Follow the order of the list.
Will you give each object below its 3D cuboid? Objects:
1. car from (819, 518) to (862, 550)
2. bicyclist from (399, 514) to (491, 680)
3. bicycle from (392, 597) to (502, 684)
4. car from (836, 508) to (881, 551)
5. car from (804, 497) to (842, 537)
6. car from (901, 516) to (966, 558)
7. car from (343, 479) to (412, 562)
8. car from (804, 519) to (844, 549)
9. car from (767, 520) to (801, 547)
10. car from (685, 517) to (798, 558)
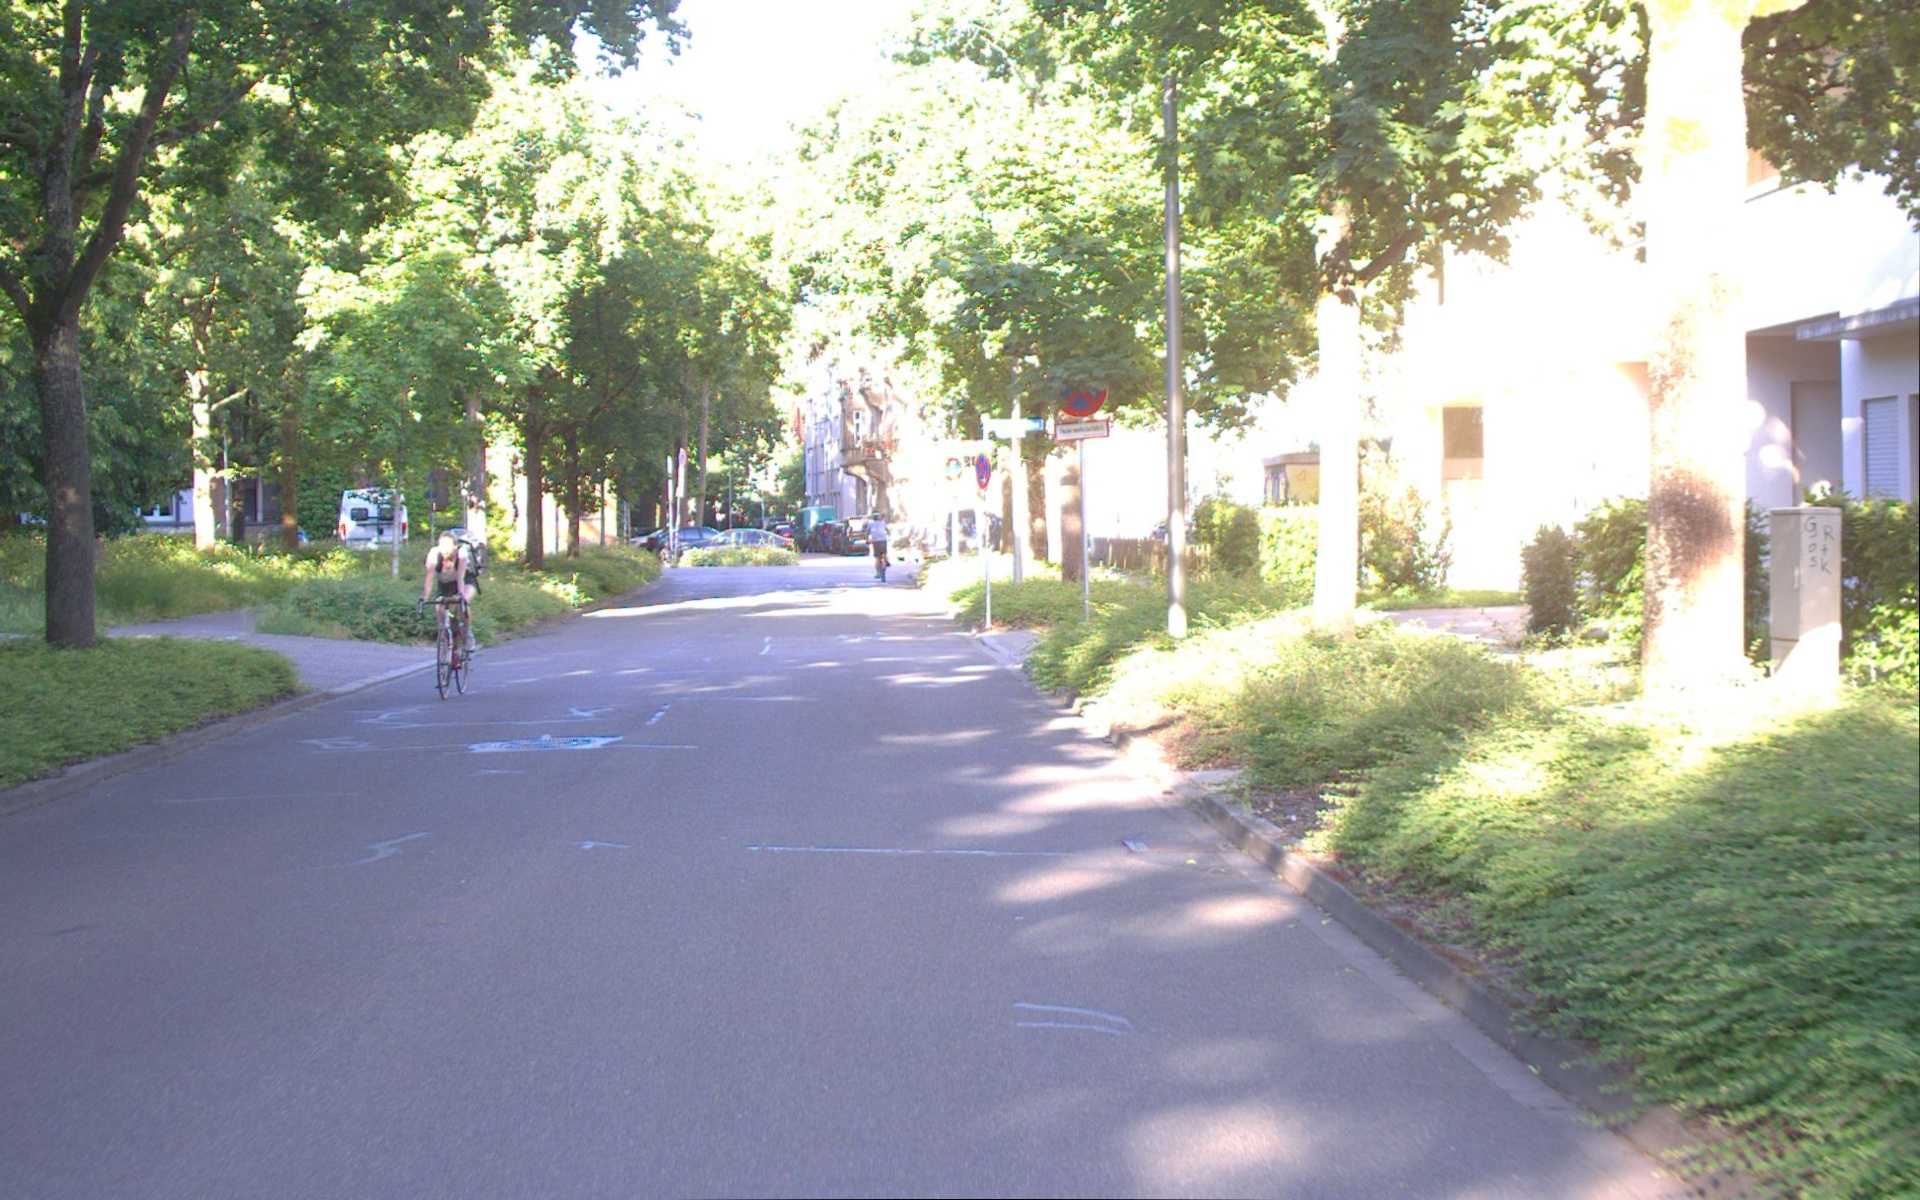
[{"bbox_3d":[-5.769,-3.199,165.692,1.811,1.496,4.001,0,1,-5],"label":"car"},{"bbox_3d":[-4.972,-0.041,33.229,0.633,1.549,1.002,-3,1,2],"label":"bicyclist"},{"bbox_3d":[-4.957,0.383,33.329,0.639,0.739,2.126,-3,1,2],"label":"bicycle"},{"bbox_3d":[-4.675,-3.238,157.575,1.811,1.919,4.001,0,1,-5],"label":"car"},{"bbox_3d":[-7.278,-4.403,182.389,1.811,2.043,4.001,0,1,-5],"label":"car"},{"bbox_3d":[-1.010,-2.383,128.953,1.811,1.496,4.001,-2,1,-9],"label":"car"},{"bbox_3d":[-17.823,-2.418,105.098,1.993,2.499,4.001,0,1,-10],"label":"car"},{"bbox_3d":[-6.832,-3.324,172.205,1.811,1.496,4.001,0,1,-5],"label":"car"},{"bbox_3d":[-10.232,-3.869,199.303,1.811,1.496,4.001,0,1,-5],"label":"car"},{"bbox_3d":[-8.046,-2.304,126.644,3.986,1.496,1.818,0,1,-9],"label":"car"}]
